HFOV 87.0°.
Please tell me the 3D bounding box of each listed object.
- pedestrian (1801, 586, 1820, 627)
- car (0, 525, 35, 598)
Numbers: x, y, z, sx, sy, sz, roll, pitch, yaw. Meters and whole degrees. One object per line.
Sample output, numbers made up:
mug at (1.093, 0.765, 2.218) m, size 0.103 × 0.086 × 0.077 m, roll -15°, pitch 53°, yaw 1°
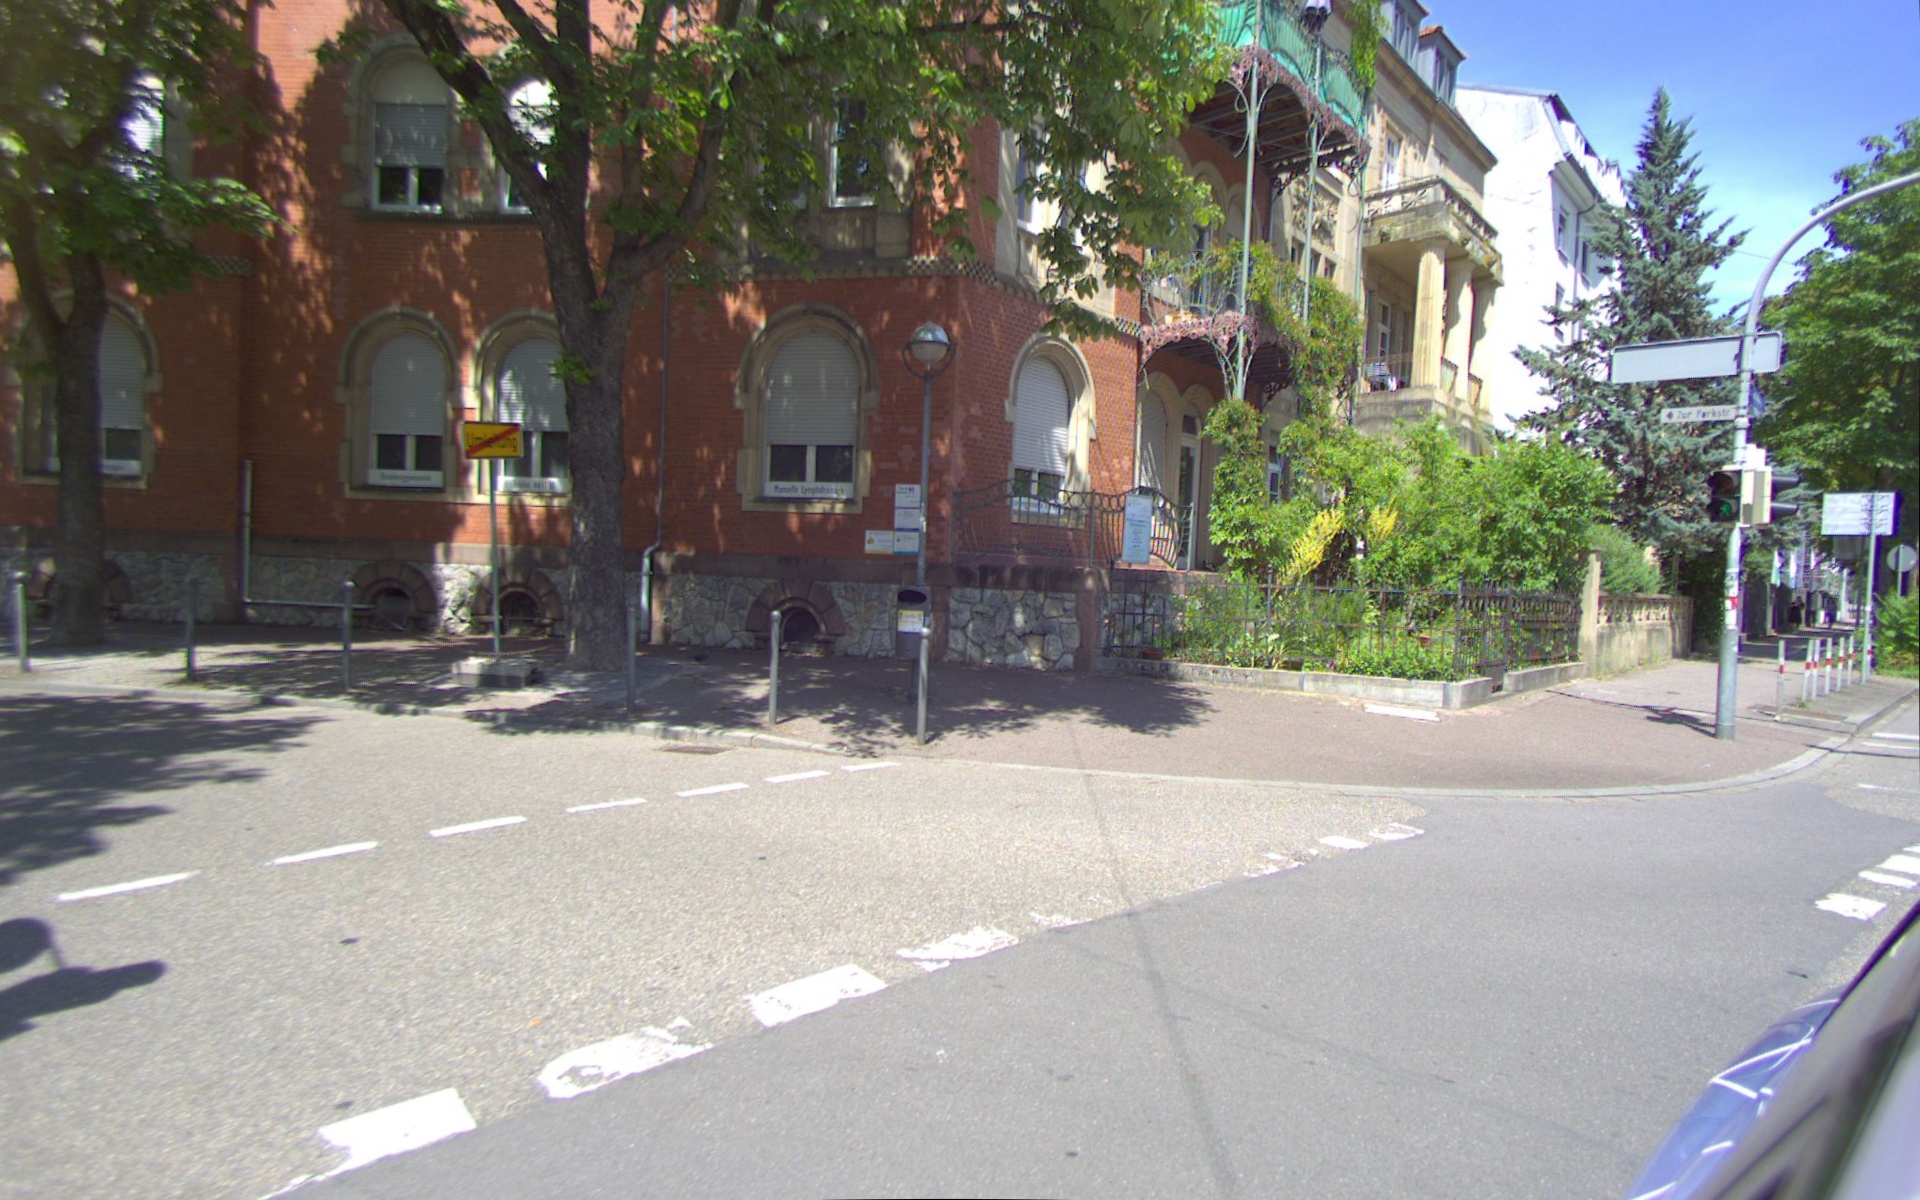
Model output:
pedestrian at (36.567, 0.276, 43.508) m, size 0.546 × 1.713 × 0.744 m, roll 4°, pitch 3°, yaw 43°
car at (-19.819, -0.758, 19.414) m, size 1.866 × 1.459 × 4.767 m, roll 0°, pitch 2°, yaw -27°
